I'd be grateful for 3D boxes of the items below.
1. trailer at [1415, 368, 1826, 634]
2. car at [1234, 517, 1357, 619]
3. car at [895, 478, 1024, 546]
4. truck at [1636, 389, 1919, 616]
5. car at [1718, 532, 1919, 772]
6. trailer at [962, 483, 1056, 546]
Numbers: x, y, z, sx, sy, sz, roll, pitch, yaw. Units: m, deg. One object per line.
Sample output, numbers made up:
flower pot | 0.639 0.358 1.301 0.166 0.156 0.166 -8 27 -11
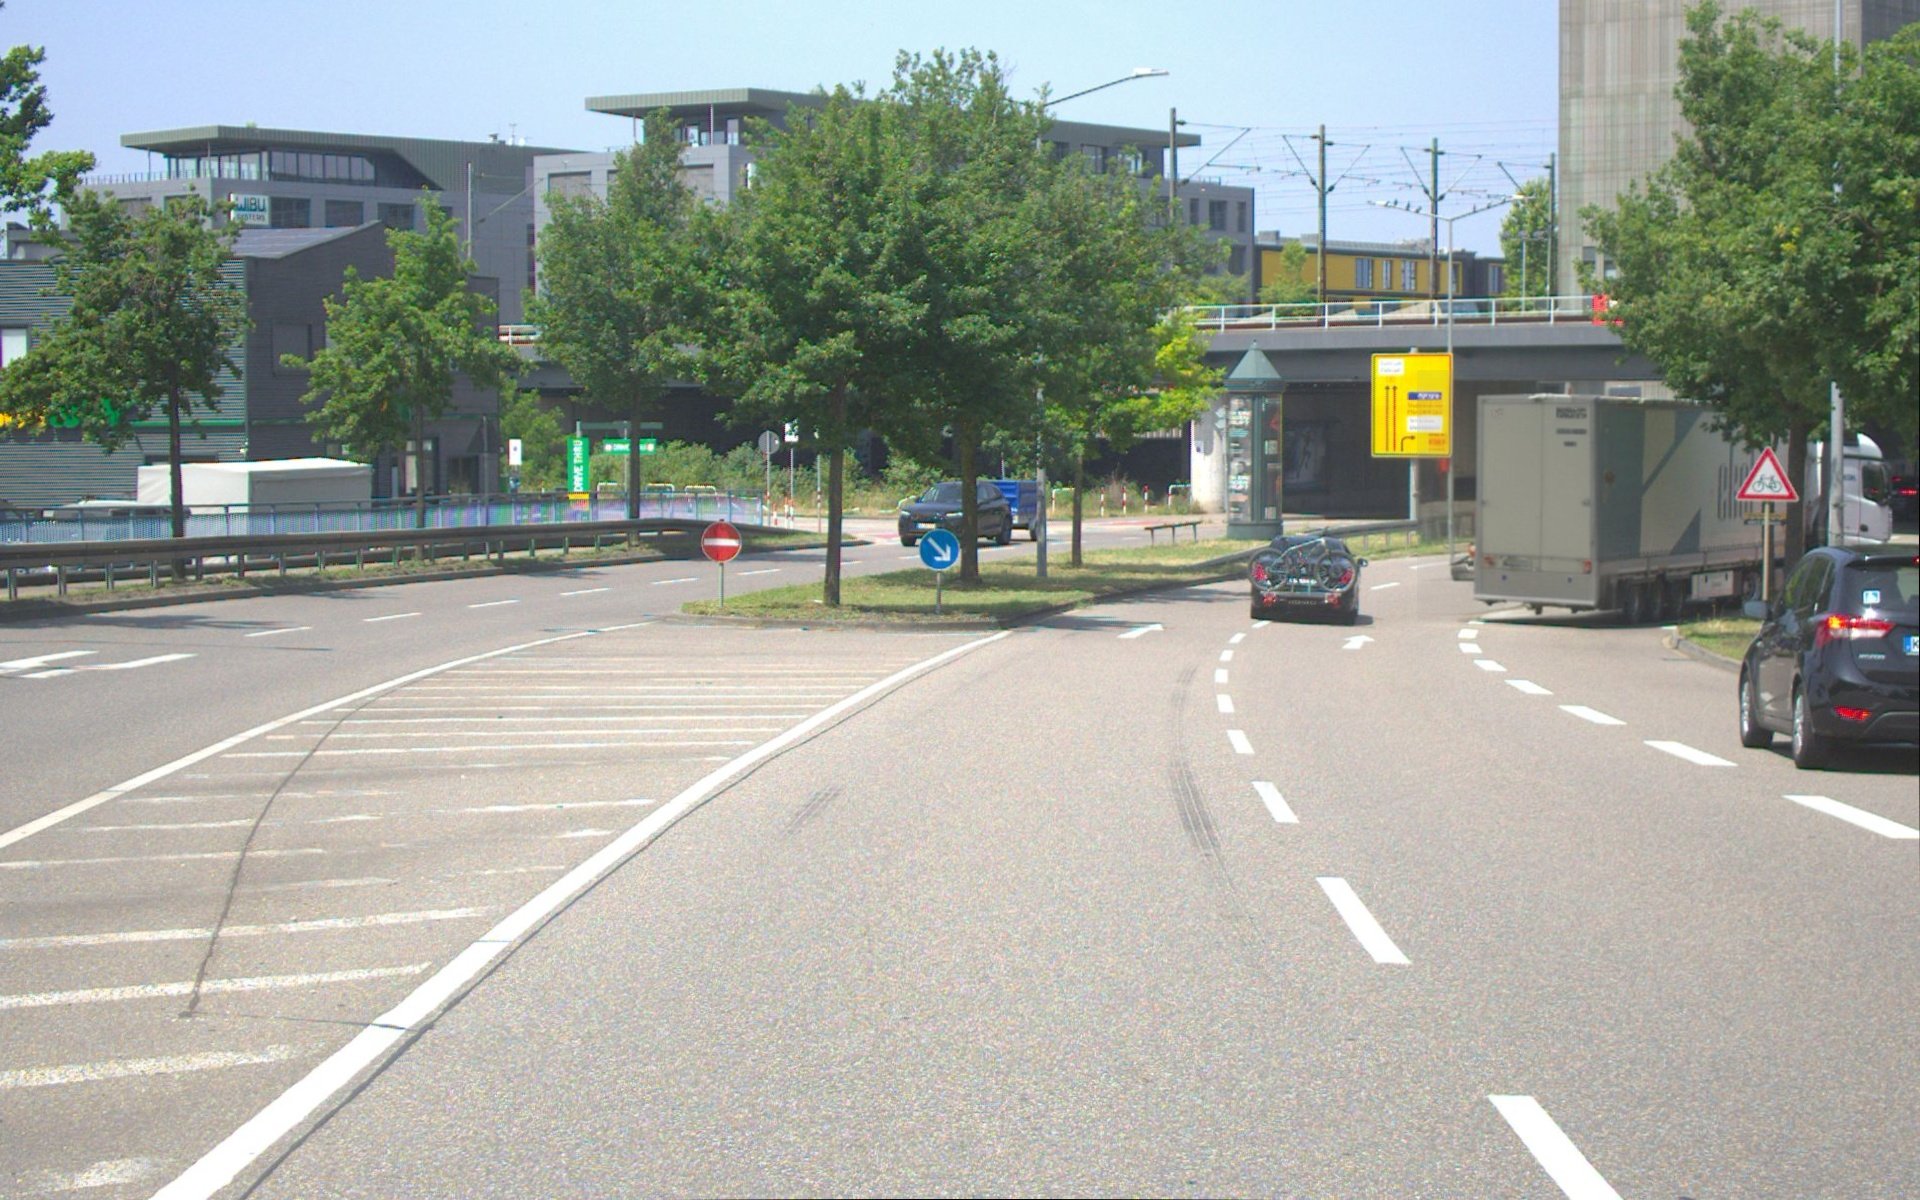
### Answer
trailer | 12.825 -1.906 64.980 3.083 4.353 14.752 5 4 28
car | 5.610 -0.563 57.719 1.957 1.628 4.279 -1 1 5
car | 0.025 -2.282 90.076 1.916 1.646 4.403 -2 0 20
truck | 17.394 -1.996 71.209 6.059 4.353 3.086 1 4 -36
car | 6.738 0.350 25.090 1.767 1.594 4.077 1 0 4
trailer | 1.348 -2.314 93.707 1.506 1.610 3.305 -2 0 20
